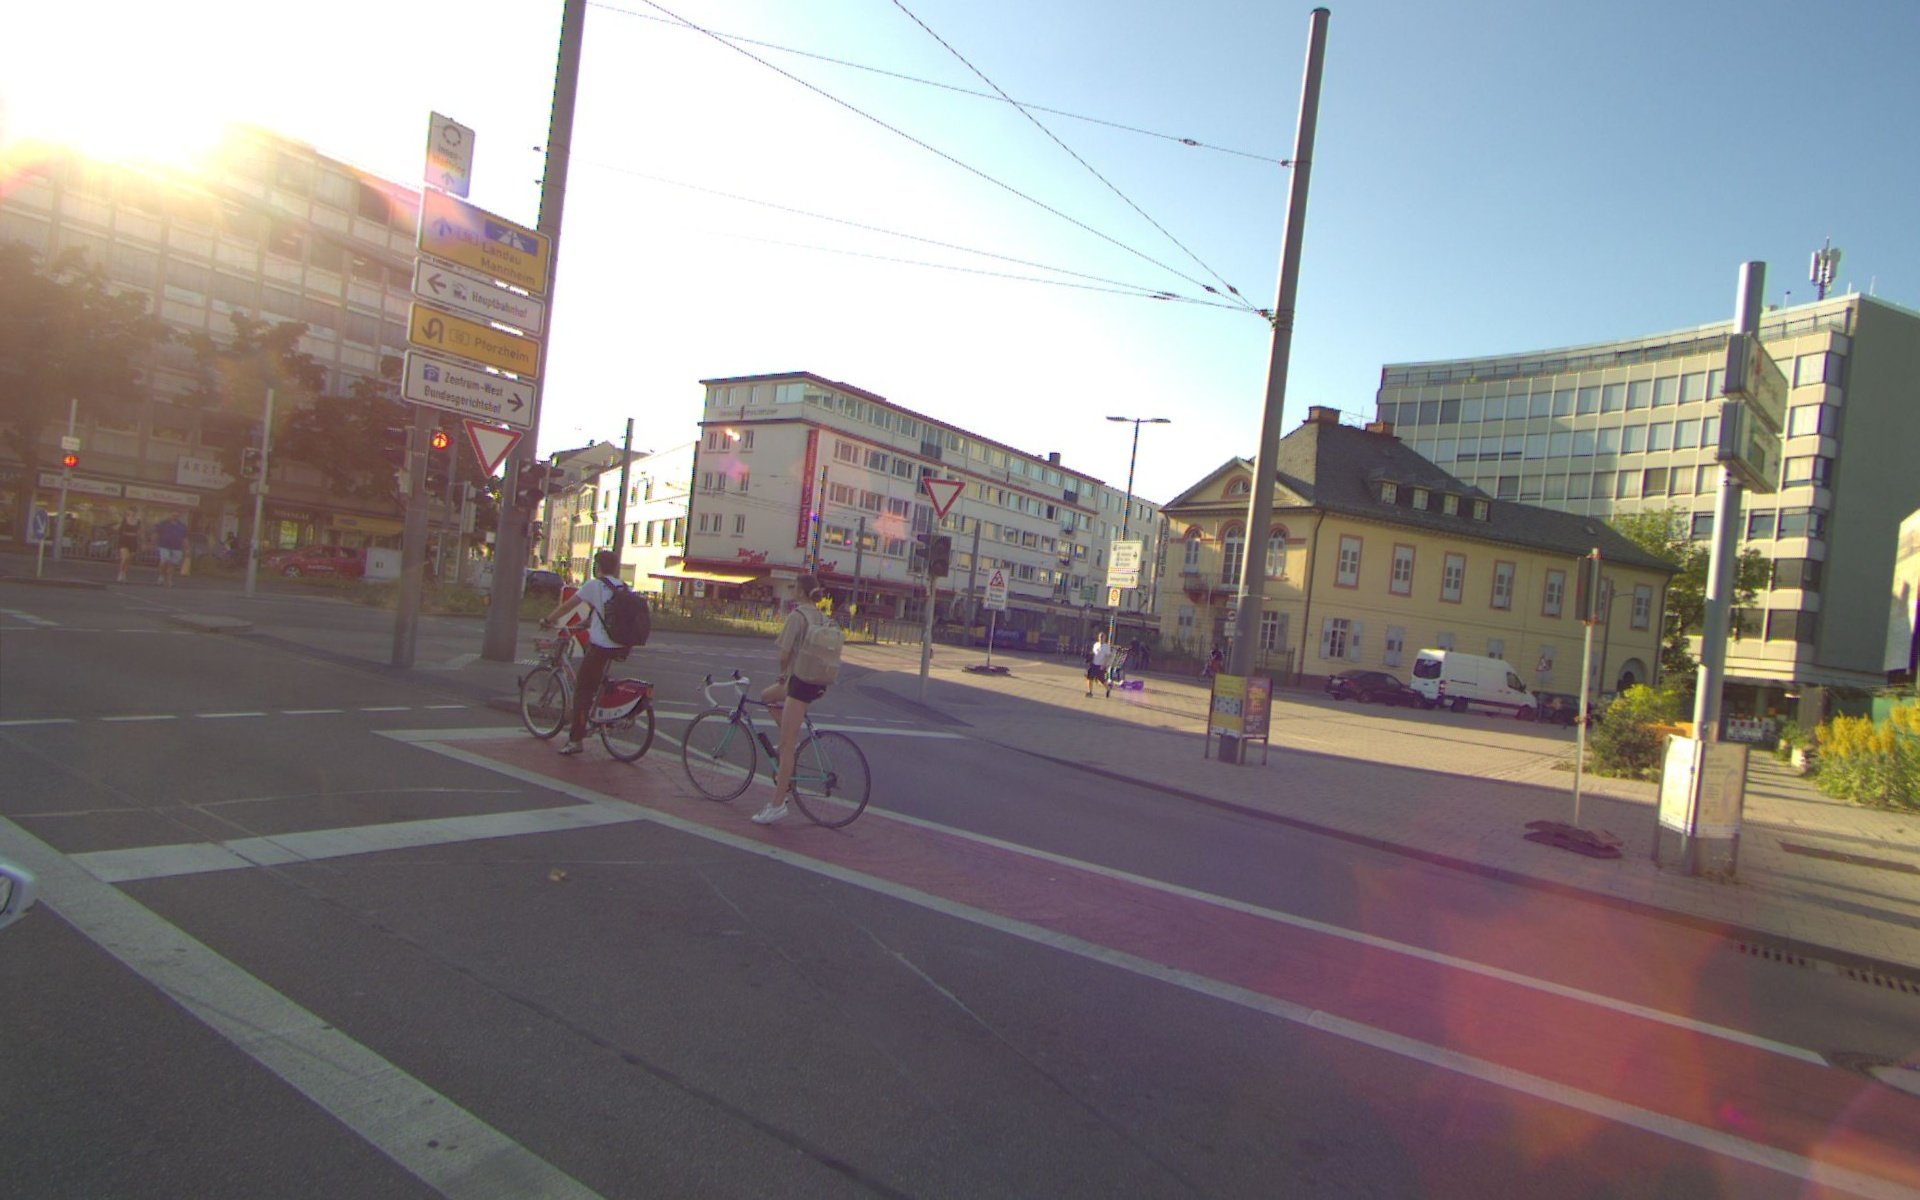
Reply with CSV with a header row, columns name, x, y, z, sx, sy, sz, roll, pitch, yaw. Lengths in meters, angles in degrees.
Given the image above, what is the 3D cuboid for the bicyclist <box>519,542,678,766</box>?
name,x,y,z,sx,sy,sz,roll,pitch,yaw
bicyclist,-3.149,0.457,8.770,1.042,1.788,0.543,6,-1,27

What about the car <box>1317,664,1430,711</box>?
name,x,y,z,sx,sy,sz,roll,pitch,yaw
car,17.328,3.662,42.160,4.132,1.380,1.709,8,-2,-17

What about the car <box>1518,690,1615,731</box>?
name,x,y,z,sx,sy,sz,roll,pitch,yaw
car,27.810,5.061,46.142,3.706,1.380,1.709,8,-2,-17

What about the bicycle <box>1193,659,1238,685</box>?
name,x,y,z,sx,sy,sz,roll,pitch,yaw
bicycle,11.802,3.319,46.405,1.969,0.959,0.719,8,-2,-28

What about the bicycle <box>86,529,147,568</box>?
name,x,y,z,sx,sy,sz,roll,pitch,yaw
bicycle,-33.247,-2.028,39.665,2.594,1.157,0.751,9,0,26

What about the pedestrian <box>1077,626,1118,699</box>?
name,x,y,z,sx,sy,sz,roll,pitch,yaw
pedestrian,3.605,1.645,26.380,0.746,1.782,1.009,6,-1,16

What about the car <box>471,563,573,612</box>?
name,x,y,z,sx,sy,sz,roll,pitch,yaw
car,-19.346,-0.501,44.606,1.809,1.636,4.005,6,-2,18

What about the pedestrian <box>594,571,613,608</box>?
name,x,y,z,sx,sy,sz,roll,pitch,yaw
pedestrian,-20.353,-0.601,57.464,0.622,2.037,0.708,8,-1,-35

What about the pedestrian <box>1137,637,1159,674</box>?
name,x,y,z,sx,sy,sz,roll,pitch,yaw
pedestrian,8.889,2.632,47.535,0.802,1.661,0.687,7,-1,11

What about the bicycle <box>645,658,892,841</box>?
name,x,y,z,sx,sy,sz,roll,pitch,yaw
bicycle,-1.394,1.029,7.248,1.664,1.013,0.543,6,-2,27

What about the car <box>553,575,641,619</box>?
name,x,y,z,sx,sy,sz,roll,pitch,yaw
car,-17.864,-0.117,49.702,1.810,1.636,4.004,6,-2,20

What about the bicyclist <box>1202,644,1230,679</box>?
name,x,y,z,sx,sy,sz,roll,pitch,yaw
bicyclist,11.806,2.841,46.375,0.888,1.474,0.719,8,-2,-28

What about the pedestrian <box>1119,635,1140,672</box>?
name,x,y,z,sx,sy,sz,roll,pitch,yaw
pedestrian,8.008,2.527,47.545,0.802,1.661,0.687,7,-1,12

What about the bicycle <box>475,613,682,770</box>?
name,x,y,z,sx,sy,sz,roll,pitch,yaw
bicycle,-3.370,0.773,8.844,1.777,1.113,0.543,6,-2,27

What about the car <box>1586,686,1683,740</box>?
name,x,y,z,sx,sy,sz,roll,pitch,yaw
car,31.870,5.322,47.525,3.706,2.003,1.709,8,-2,-17

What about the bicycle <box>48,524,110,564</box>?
name,x,y,z,sx,sy,sz,roll,pitch,yaw
bicycle,-33.826,-2.157,38.621,2.594,1.157,0.751,9,0,26

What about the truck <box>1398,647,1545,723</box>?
name,x,y,z,sx,sy,sz,roll,pitch,yaw
truck,22.540,3.735,44.369,5.556,2.578,2.294,8,-2,-17

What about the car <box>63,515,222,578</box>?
name,x,y,z,sx,sy,sz,roll,pitch,yaw
car,-29.639,-1.909,36.579,1.816,1.636,4.071,6,-3,36

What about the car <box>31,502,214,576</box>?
name,x,y,z,sx,sy,sz,roll,pitch,yaw
car,-26.247,-1.869,31.650,1.816,1.636,3.990,6,-3,36

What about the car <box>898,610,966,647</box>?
name,x,y,z,sx,sy,sz,roll,pitch,yaw
car,-1.944,2.069,71.235,1.971,2.036,4.858,6,-3,38

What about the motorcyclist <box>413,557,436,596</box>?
name,x,y,z,sx,sy,sz,roll,pitch,yaw
motorcyclist,-21.635,-0.949,40.649,0.527,1.526,0.460,6,-1,37

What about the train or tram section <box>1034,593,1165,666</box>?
name,x,y,z,sx,sy,sz,roll,pitch,yaw
train or tram section,10.421,2.310,73.297,3.658,3.876,12.953,6,-3,35

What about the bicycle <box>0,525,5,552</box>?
name,x,y,z,sx,sy,sz,roll,pitch,yaw
bicycle,-34.770,-2.311,35.022,0.660,0.951,2.029,6,-3,31

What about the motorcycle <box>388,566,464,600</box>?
name,x,y,z,sx,sy,sz,roll,pitch,yaw
motorcycle,-21.591,-0.680,40.743,0.527,1.012,2.664,6,-3,36

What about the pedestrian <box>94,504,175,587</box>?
name,x,y,z,sx,sy,sz,roll,pitch,yaw
pedestrian,-18.606,-1.215,22.703,1.024,1.702,0.697,7,-1,-6

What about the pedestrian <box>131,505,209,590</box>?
name,x,y,z,sx,sy,sz,roll,pitch,yaw
pedestrian,-18.432,-1.211,23.492,1.024,1.814,0.697,7,-1,-6

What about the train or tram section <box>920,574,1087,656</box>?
name,x,y,z,sx,sy,sz,roll,pitch,yaw
train or tram section,3.064,1.107,62.464,3.657,3.879,13.326,6,-1,34

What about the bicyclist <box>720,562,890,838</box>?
name,x,y,z,sx,sy,sz,roll,pitch,yaw
bicyclist,-1.081,0.680,7.075,0.778,1.766,0.615,6,-1,27

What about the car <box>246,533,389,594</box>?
name,x,y,z,sx,sy,sz,roll,pitch,yaw
car,-23.794,-1.335,37.392,1.816,1.636,3.990,6,-3,36
